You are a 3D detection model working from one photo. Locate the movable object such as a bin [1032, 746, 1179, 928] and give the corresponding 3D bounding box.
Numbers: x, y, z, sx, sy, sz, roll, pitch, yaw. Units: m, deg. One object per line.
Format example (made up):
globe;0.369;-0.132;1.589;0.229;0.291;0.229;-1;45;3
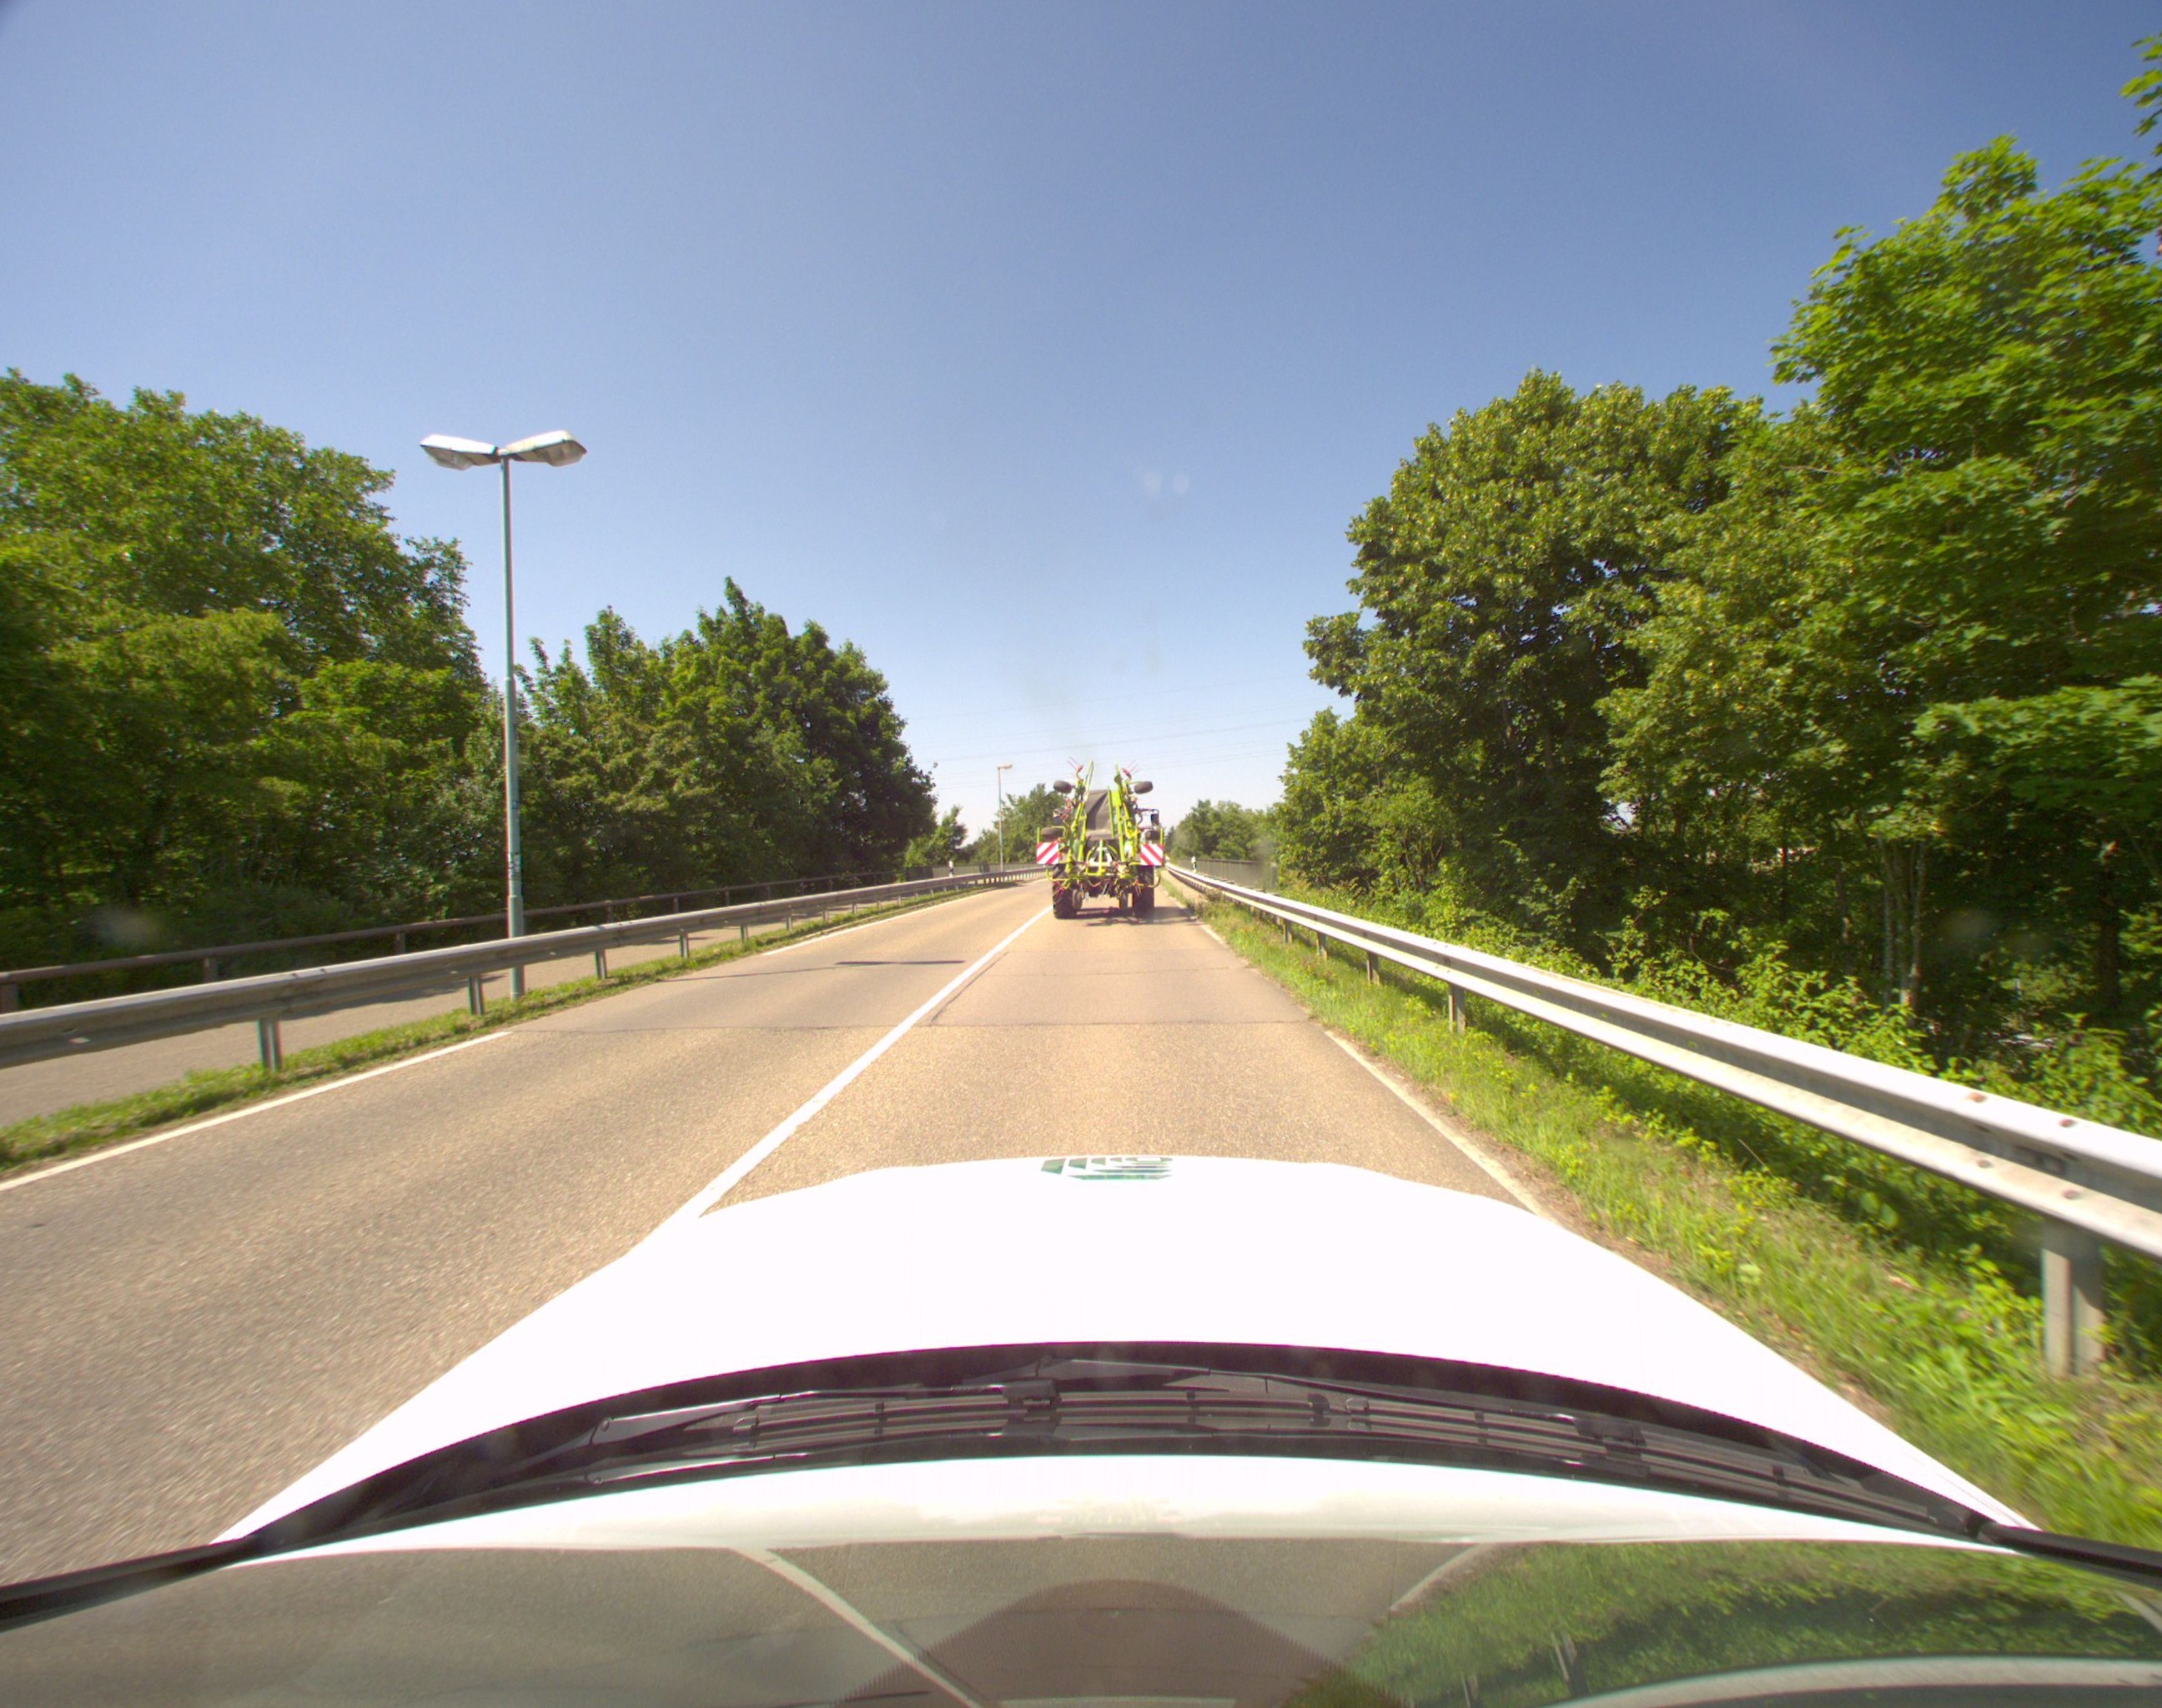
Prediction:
movable object such as a bin;0.521;-0.341;18.521;2.745;3.444;5.671;-1;0;1
